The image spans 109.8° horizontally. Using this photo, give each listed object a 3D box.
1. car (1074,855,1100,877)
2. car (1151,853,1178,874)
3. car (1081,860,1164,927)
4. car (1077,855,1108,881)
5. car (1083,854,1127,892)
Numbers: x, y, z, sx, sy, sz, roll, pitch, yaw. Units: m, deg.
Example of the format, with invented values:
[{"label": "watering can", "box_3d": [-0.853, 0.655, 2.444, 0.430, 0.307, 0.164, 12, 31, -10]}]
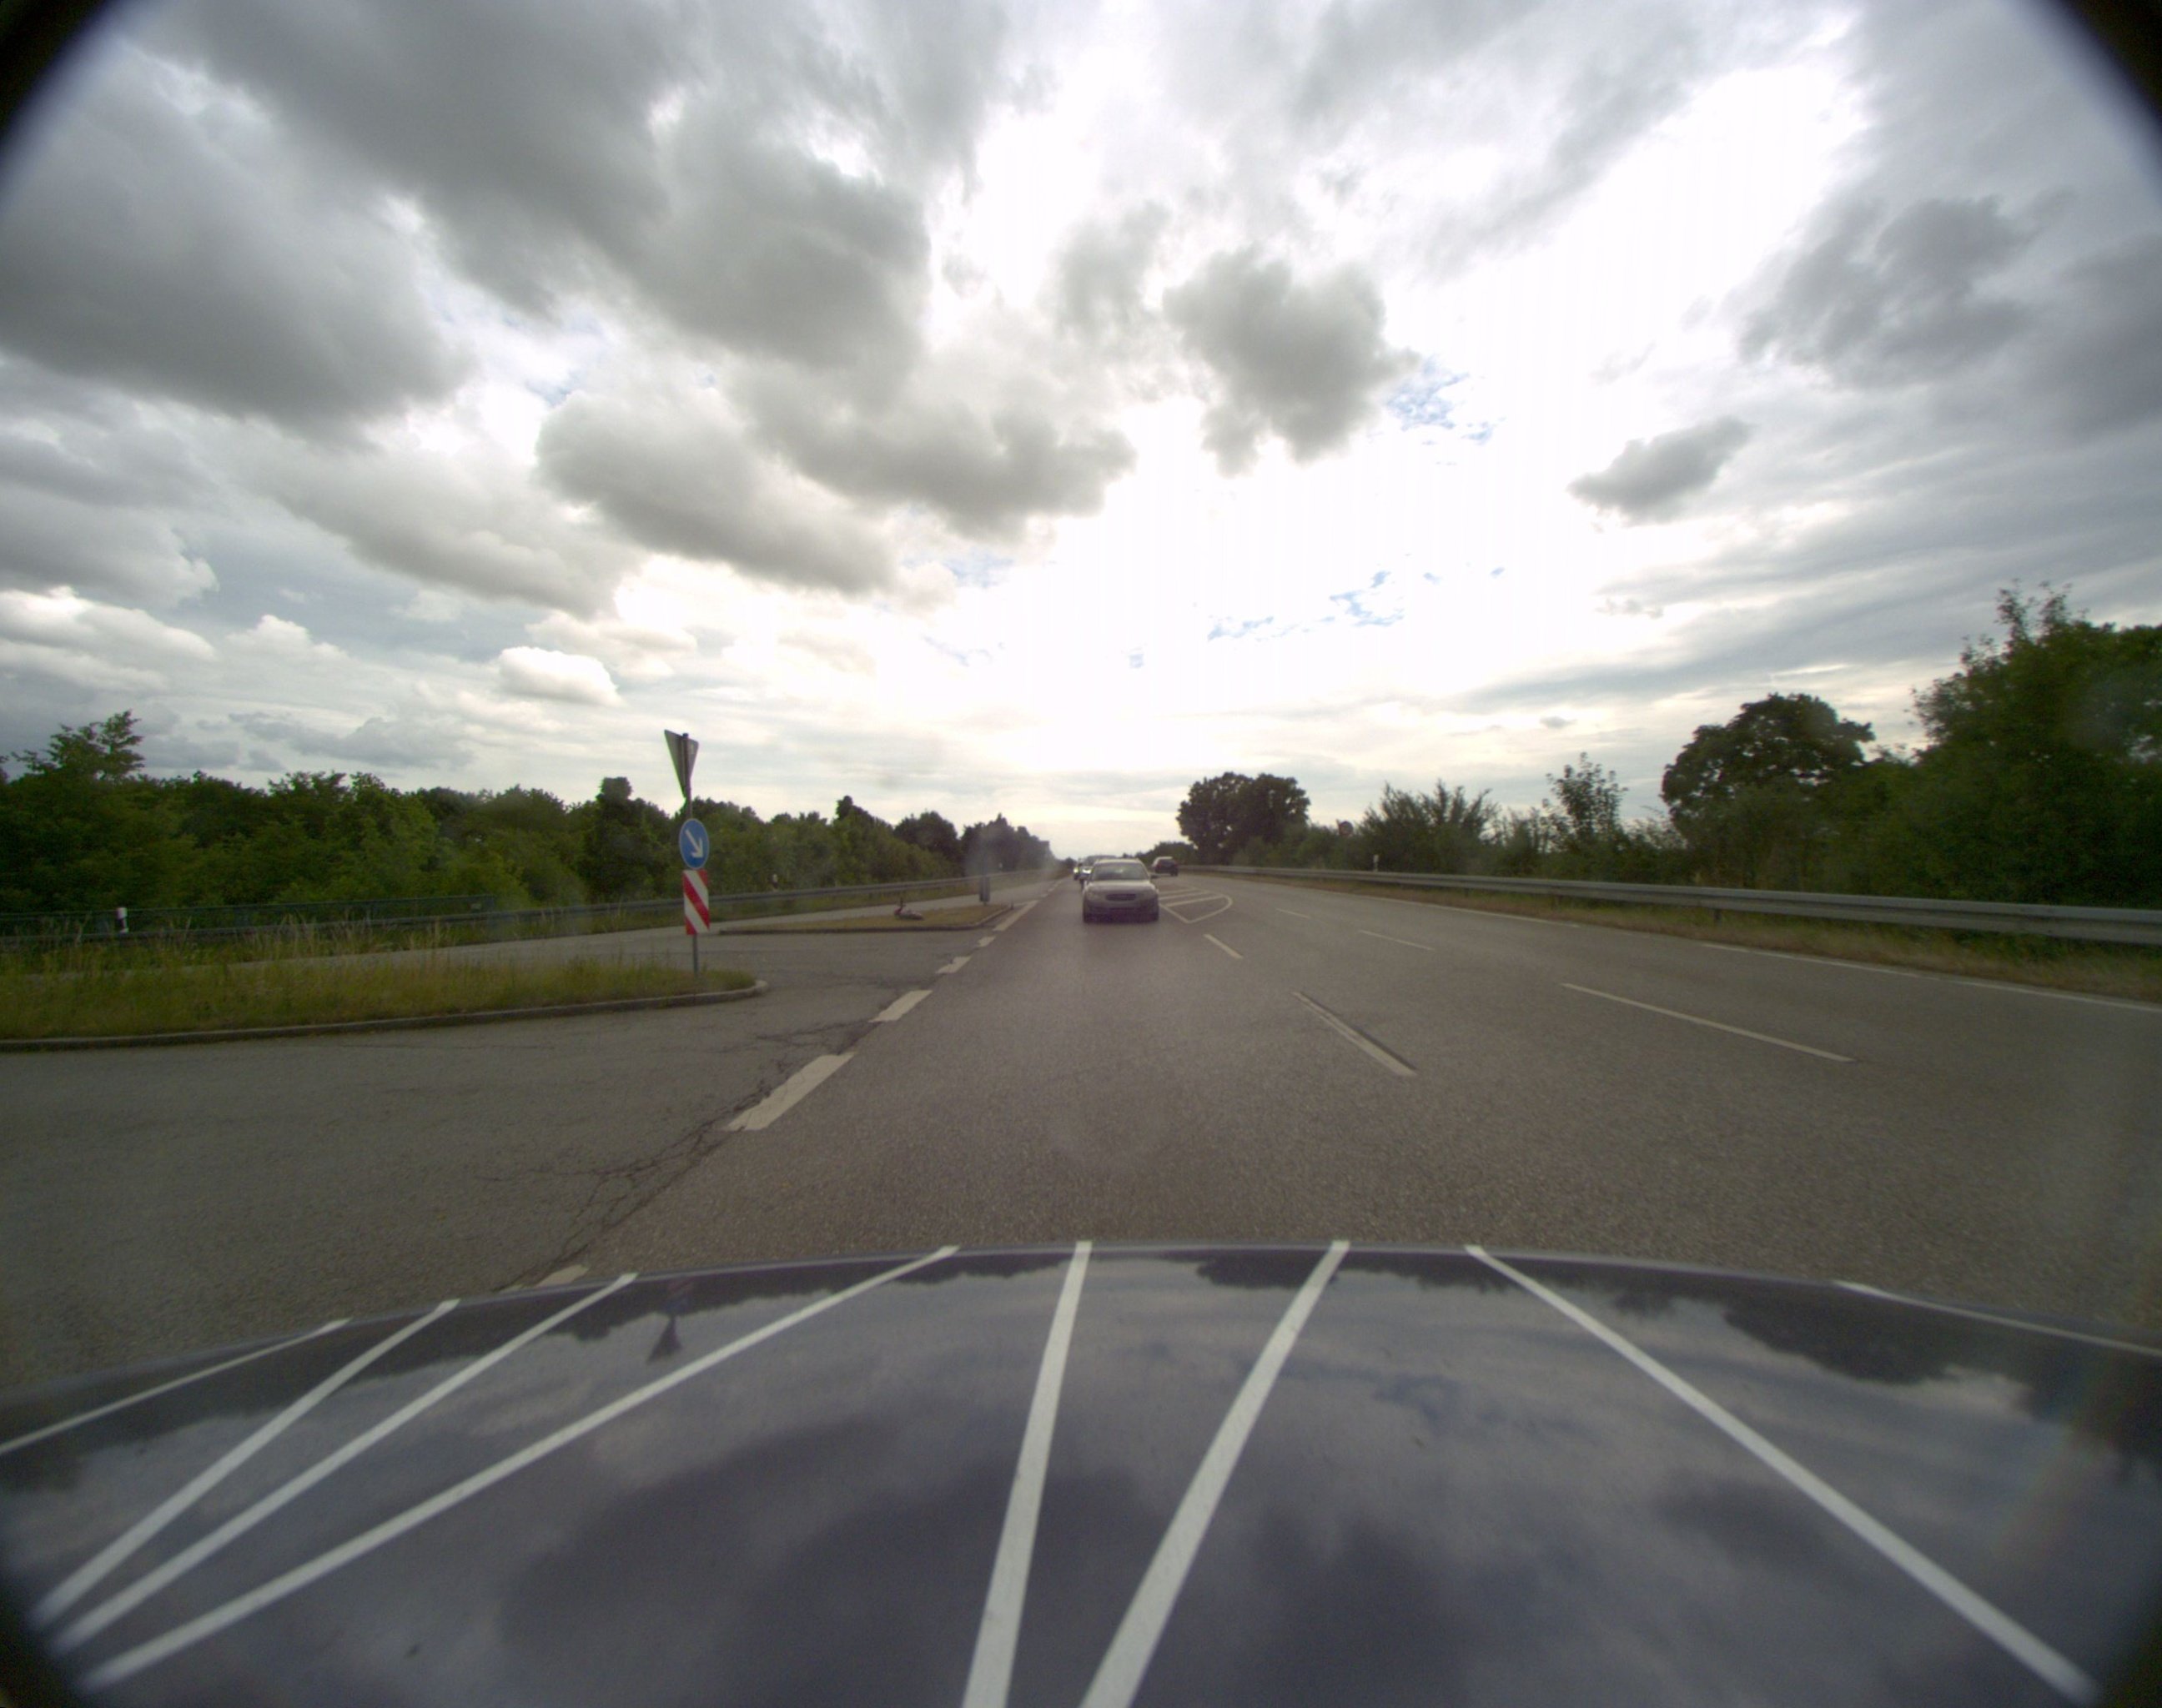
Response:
[{"label": "car", "box_3d": [0.429, 0.915, 57.254, 1.835, 1.537, 4.035, -1, 0, 0]}, {"label": "car", "box_3d": [6.676, 0.731, 60.933, 1.715, 1.514, 4.000, -2, 0, 1]}, {"label": "car", "box_3d": [0.930, 0.885, 18.706, 1.784, 1.441, 4.035, -1, 0, 0]}, {"label": "car", "box_3d": [0.734, 0.853, 48.185, 1.835, 1.537, 4.035, -1, 0, 0]}, {"label": "car", "box_3d": [1.029, 0.819, 34.011, 1.835, 1.537, 4.035, -1, 0, 0]}]
